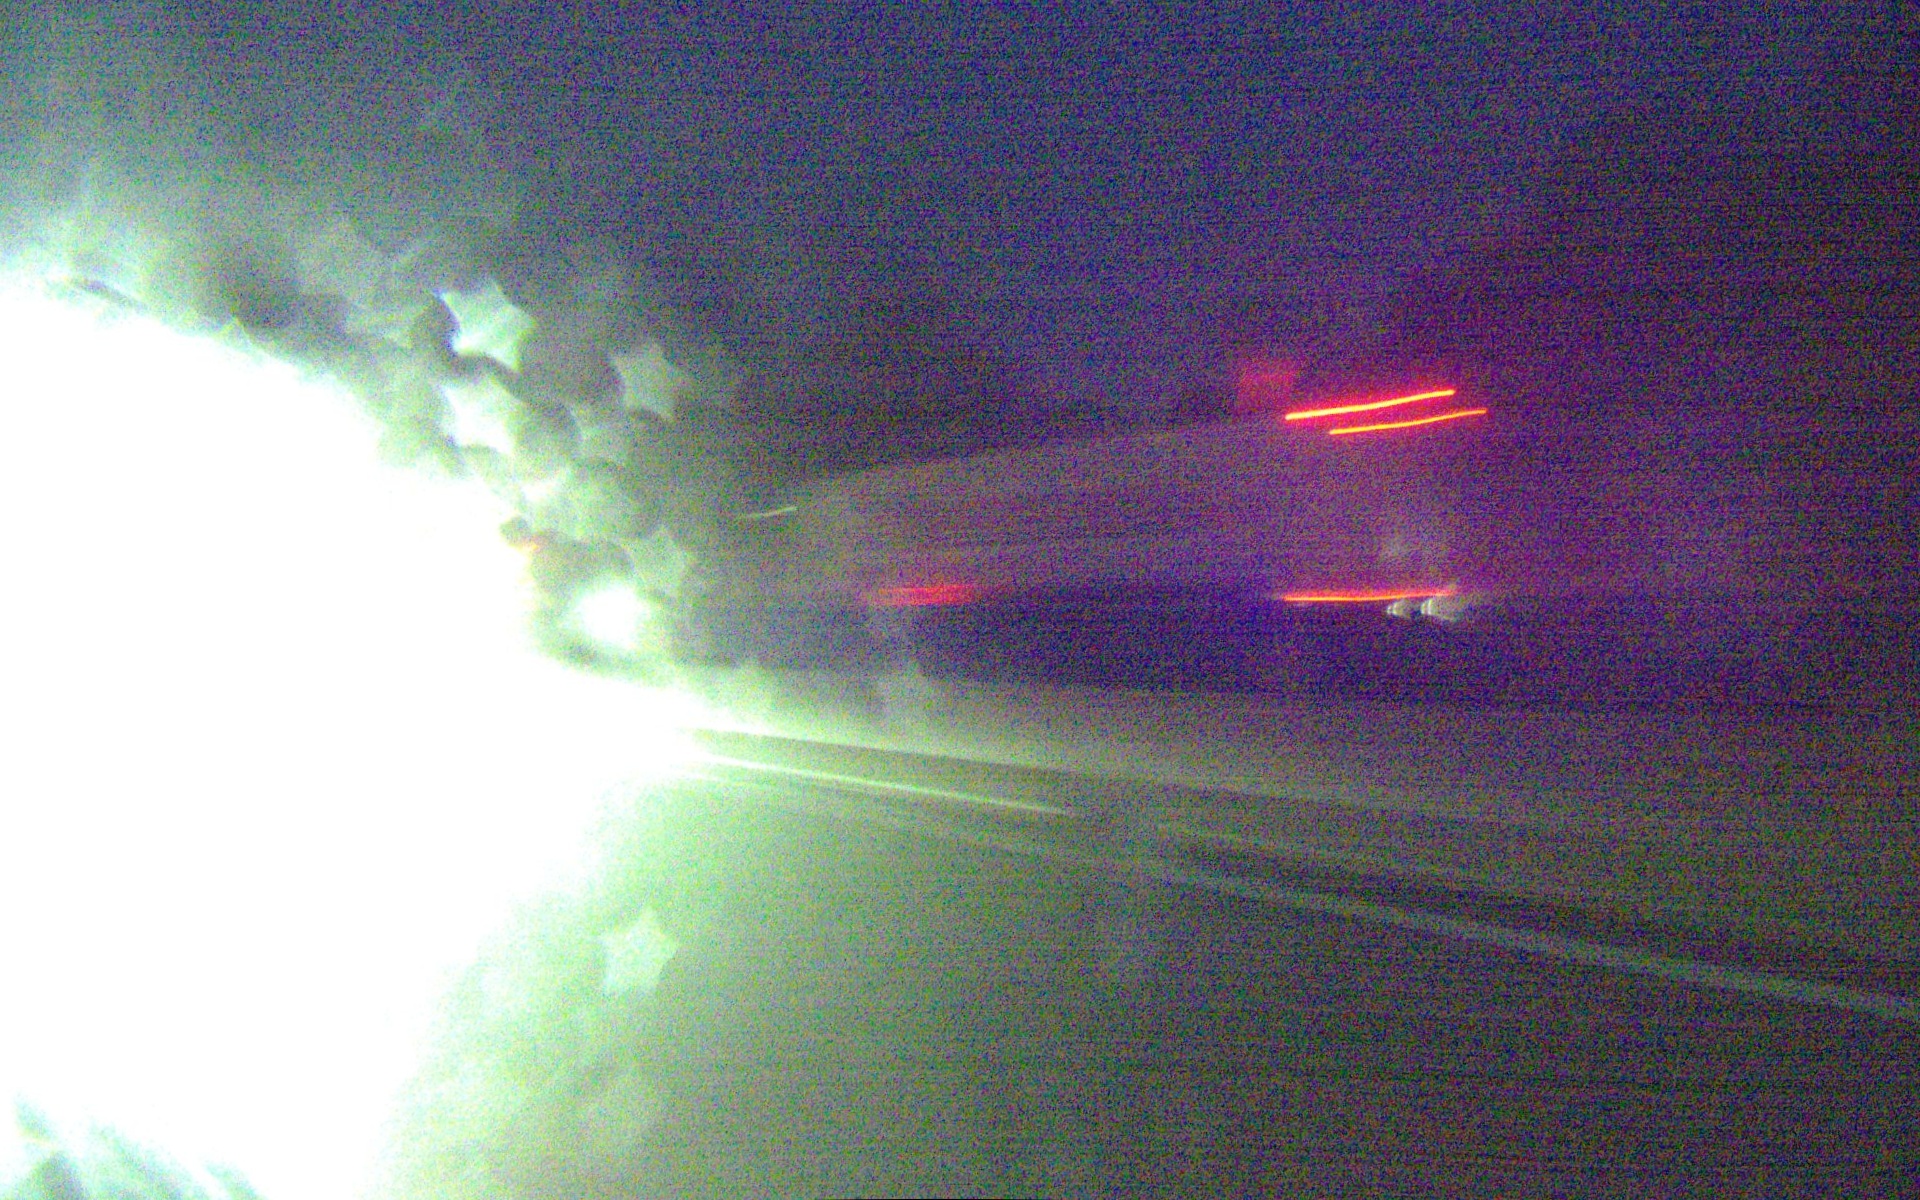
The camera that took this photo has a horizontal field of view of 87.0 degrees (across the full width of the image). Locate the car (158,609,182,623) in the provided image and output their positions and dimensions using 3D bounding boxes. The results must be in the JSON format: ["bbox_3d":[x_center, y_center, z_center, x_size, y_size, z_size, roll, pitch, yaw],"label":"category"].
[{"bbox_3d":[-92.437,1.850,118.348,1.854,1.639,4.004,0,-1,-43],"label":"car"}]

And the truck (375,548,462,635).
[{"bbox_3d":[-33.278,-0.485,62.074,6.718,5.013,2.743,-1,0,44],"label":"truck"}]

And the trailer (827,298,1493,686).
[{"bbox_3d":[3.021,-1.598,21.267,14.165,5.939,2.878,-1,0,41],"label":"trailer"}]

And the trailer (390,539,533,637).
[{"bbox_3d":[-28.601,-0.552,57.484,14.112,5.013,2.743,-1,0,44],"label":"trailer"}]

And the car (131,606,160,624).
[{"bbox_3d":[-76.188,1.387,94.643,1.854,1.639,4.004,0,-1,-43],"label":"car"}]

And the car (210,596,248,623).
[{"bbox_3d":[-69.206,0.898,95.763,2.149,2.459,4.940,-1,0,-45],"label":"car"}]

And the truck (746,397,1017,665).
[{"bbox_3d":[-2.156,-1.516,25.853,6.876,5.939,2.873,-1,0,41],"label":"truck"}]

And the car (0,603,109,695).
[{"bbox_3d":[-21.549,1.060,23.579,5.558,1.898,2.113,-1,0,45],"label":"car"}]

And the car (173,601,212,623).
[{"bbox_3d":[-63.766,0.975,84.080,4.000,1.772,1.972,-1,-1,43],"label":"car"}]

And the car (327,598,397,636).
[{"bbox_3d":[-27.655,0.773,46.763,3.864,1.660,1.760,-1,-1,43],"label":"car"}]
